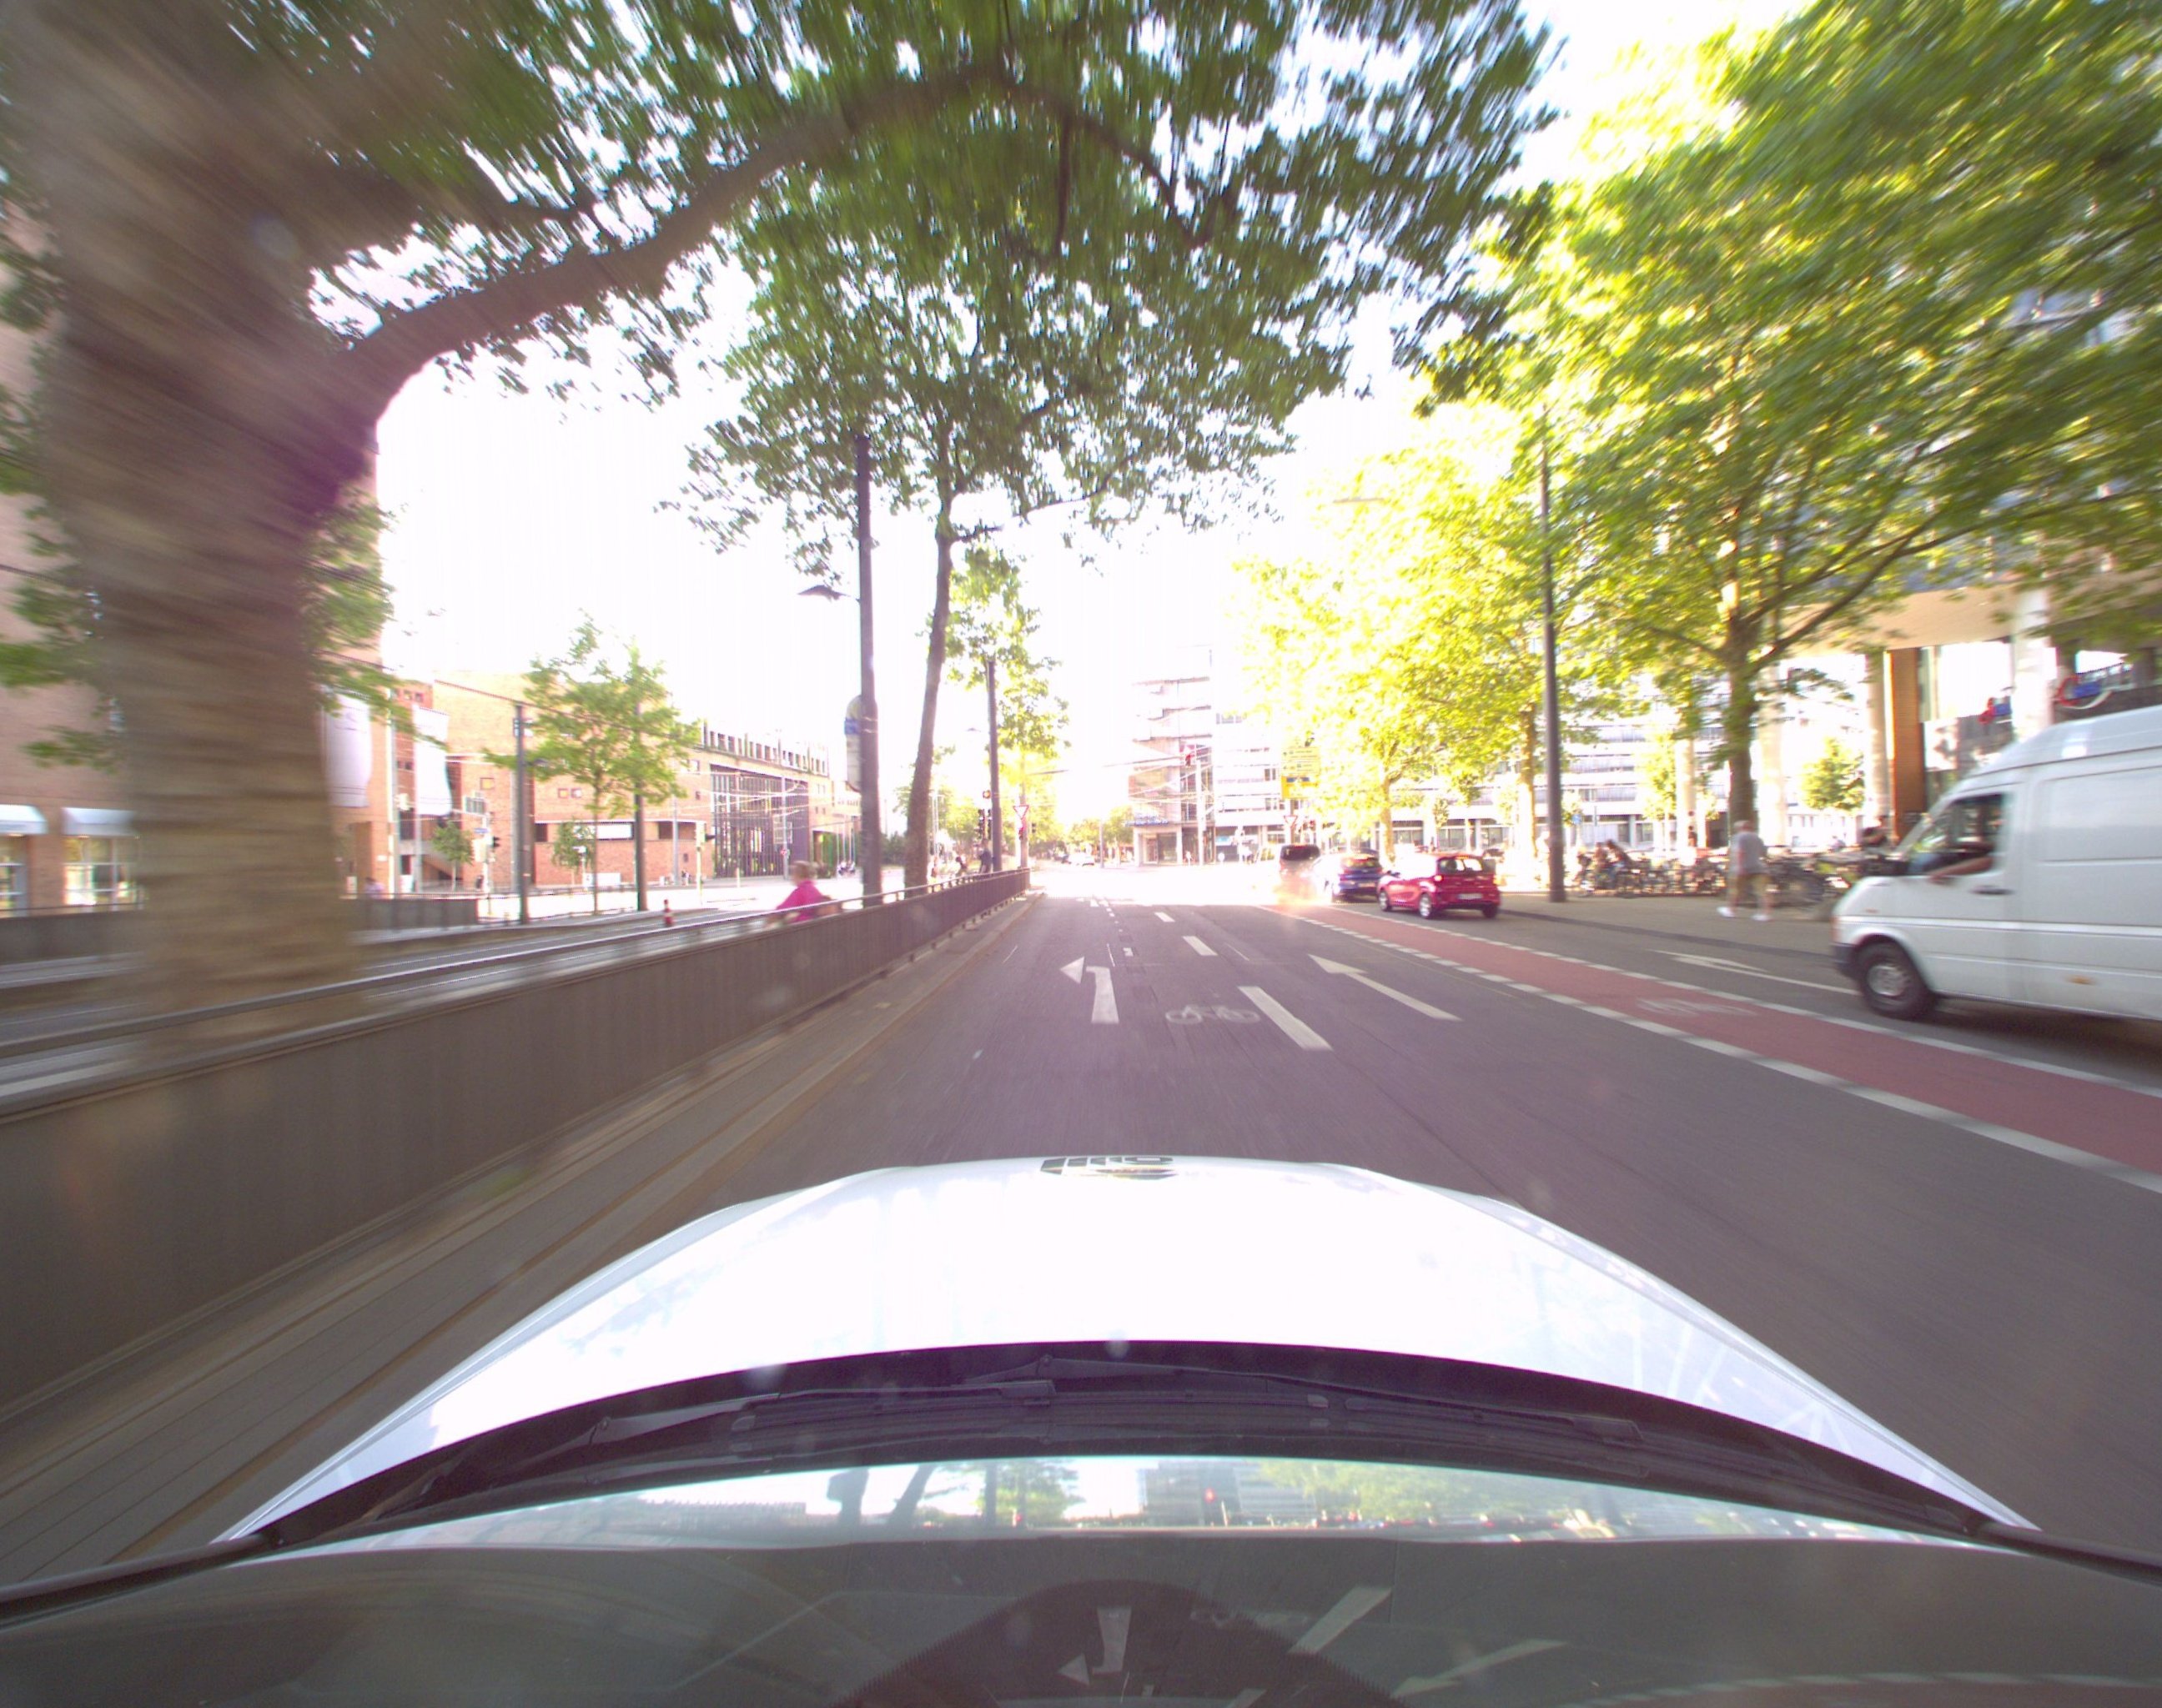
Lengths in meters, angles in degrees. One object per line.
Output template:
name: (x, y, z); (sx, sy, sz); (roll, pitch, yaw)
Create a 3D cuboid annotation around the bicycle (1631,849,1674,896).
bicycle: (14.469, 0.441, 20.646); (0.590, 1.116, 1.837); (-2, 0, 26)

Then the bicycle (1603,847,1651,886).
bicycle: (16.773, 0.385, 25.050); (0.419, 1.159, 1.476); (-2, 0, 0)

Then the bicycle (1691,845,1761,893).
bicycle: (16.446, 0.369, 20.804); (0.420, 1.159, 1.472); (-2, 0, -9)

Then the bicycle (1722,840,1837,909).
bicycle: (13.740, 0.390, 16.100); (0.594, 1.264, 1.875); (-2, 0, -1)

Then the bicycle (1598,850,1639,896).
bicycle: (13.837, 0.474, 21.005); (0.590, 1.116, 1.961); (-2, 0, 26)

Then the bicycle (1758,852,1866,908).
bicycle: (14.417, 0.482, 16.127); (0.594, 1.032, 1.654); (-2, 0, -1)

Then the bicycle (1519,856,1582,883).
bicycle: (16.869, 0.542, 29.306); (0.666, 0.933, 2.175); (-2, 0, -12)

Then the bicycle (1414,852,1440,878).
bicycle: (15.936, 0.507, 37.527); (0.449, 1.144, 1.475); (-2, 0, -3)

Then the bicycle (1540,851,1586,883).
bicycle: (15.809, 0.417, 26.744); (0.459, 1.026, 1.570); (-2, 0, -4)

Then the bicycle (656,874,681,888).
bicycle: (-39.767, 2.608, 78.516); (2.107, 1.239, 0.448); (-2, 0, -40)

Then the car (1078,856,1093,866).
car: (0.636, 1.012, 113.213); (1.988, 1.332, 3.998); (-2, 0, -1)

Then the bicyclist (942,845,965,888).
bicyclist: (-5.460, 0.524, 34.869); (0.848, 1.785, 0.752); (-2, 0, -4)

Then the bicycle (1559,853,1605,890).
bicycle: (15.307, 0.514, 24.928); (0.419, 1.081, 1.475); (-2, 0, -3)

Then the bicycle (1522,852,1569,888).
bicycle: (14.250, 0.482, 25.038); (0.625, 1.057, 1.574); (-2, 0, 5)

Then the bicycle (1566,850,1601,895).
bicycle: (13.409, 0.479, 21.755); (0.590, 1.116, 1.837); (-2, 0, 26)

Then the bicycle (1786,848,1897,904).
bicycle: (15.082, 0.421, 16.208); (0.594, 1.032, 1.654); (-2, 0, -1)

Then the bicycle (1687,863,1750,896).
bicycle: (15.136, 0.611, 19.352); (1.098, 0.760, 0.402); (-2, 0, 26)

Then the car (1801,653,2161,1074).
car: (7.945, 0.057, 4.869); (1.983, 2.724, 6.572); (0, 0, 6)

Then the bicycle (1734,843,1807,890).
bicycle: (17.810, 0.325, 21.071); (0.420, 1.159, 1.472); (-2, 0, -9)

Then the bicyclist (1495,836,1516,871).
bicyclist: (20.307, -0.036, 38.989); (0.559, 1.616, 0.823); (-2, 0, 5)

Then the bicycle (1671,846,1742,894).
bicycle: (15.915, 0.403, 20.770); (0.478, 1.159, 1.472); (-2, 0, -9)

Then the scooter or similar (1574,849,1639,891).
scooter or similar: (14.642, 0.460, 22.723); (1.255, 1.142, 0.911); (2, -3, -15)

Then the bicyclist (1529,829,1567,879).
bicyclist: (16.838, 0.008, 29.367); (0.751, 1.767, 0.849); (-2, 0, -12)

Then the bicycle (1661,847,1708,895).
bicycle: (15.033, 0.407, 20.323); (0.601, 1.116, 1.837); (-2, 0, 26)

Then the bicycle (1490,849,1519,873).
bicycle: (20.331, 0.315, 39.092); (0.563, 1.126, 1.781); (-2, 0, 5)

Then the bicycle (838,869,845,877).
bicycle: (-27.946, 2.243, 95.038); (0.512, 0.881, 1.833); (-2, 0, -9)

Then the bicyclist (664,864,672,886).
bicyclist: (-39.792, 2.014, 78.522); (0.565, 2.060, 0.446); (-2, -1, -41)

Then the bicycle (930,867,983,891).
bicycle: (-5.308, 1.080, 34.878); (2.173, 0.933, 0.667); (-2, 0, -4)

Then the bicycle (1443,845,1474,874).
bicycle: (17.446, 0.247, 37.666); (0.449, 1.286, 1.885); (-2, 0, -3)

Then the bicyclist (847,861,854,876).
bicyclist: (-27.053, 1.682, 95.435); (0.593, 1.675, 0.787); (-2, 0, -8)

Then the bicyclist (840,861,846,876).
bicyclist: (-27.808, 1.681, 95.156); (0.593, 1.675, 0.787); (-2, 0, -8)

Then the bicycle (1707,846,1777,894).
bicycle: (16.924, 0.402, 20.889); (0.420, 1.159, 1.472); (-2, 0, -9)

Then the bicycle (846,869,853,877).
bicycle: (-27.141, 2.196, 95.369); (0.512, 0.881, 1.833); (-2, 0, -9)
